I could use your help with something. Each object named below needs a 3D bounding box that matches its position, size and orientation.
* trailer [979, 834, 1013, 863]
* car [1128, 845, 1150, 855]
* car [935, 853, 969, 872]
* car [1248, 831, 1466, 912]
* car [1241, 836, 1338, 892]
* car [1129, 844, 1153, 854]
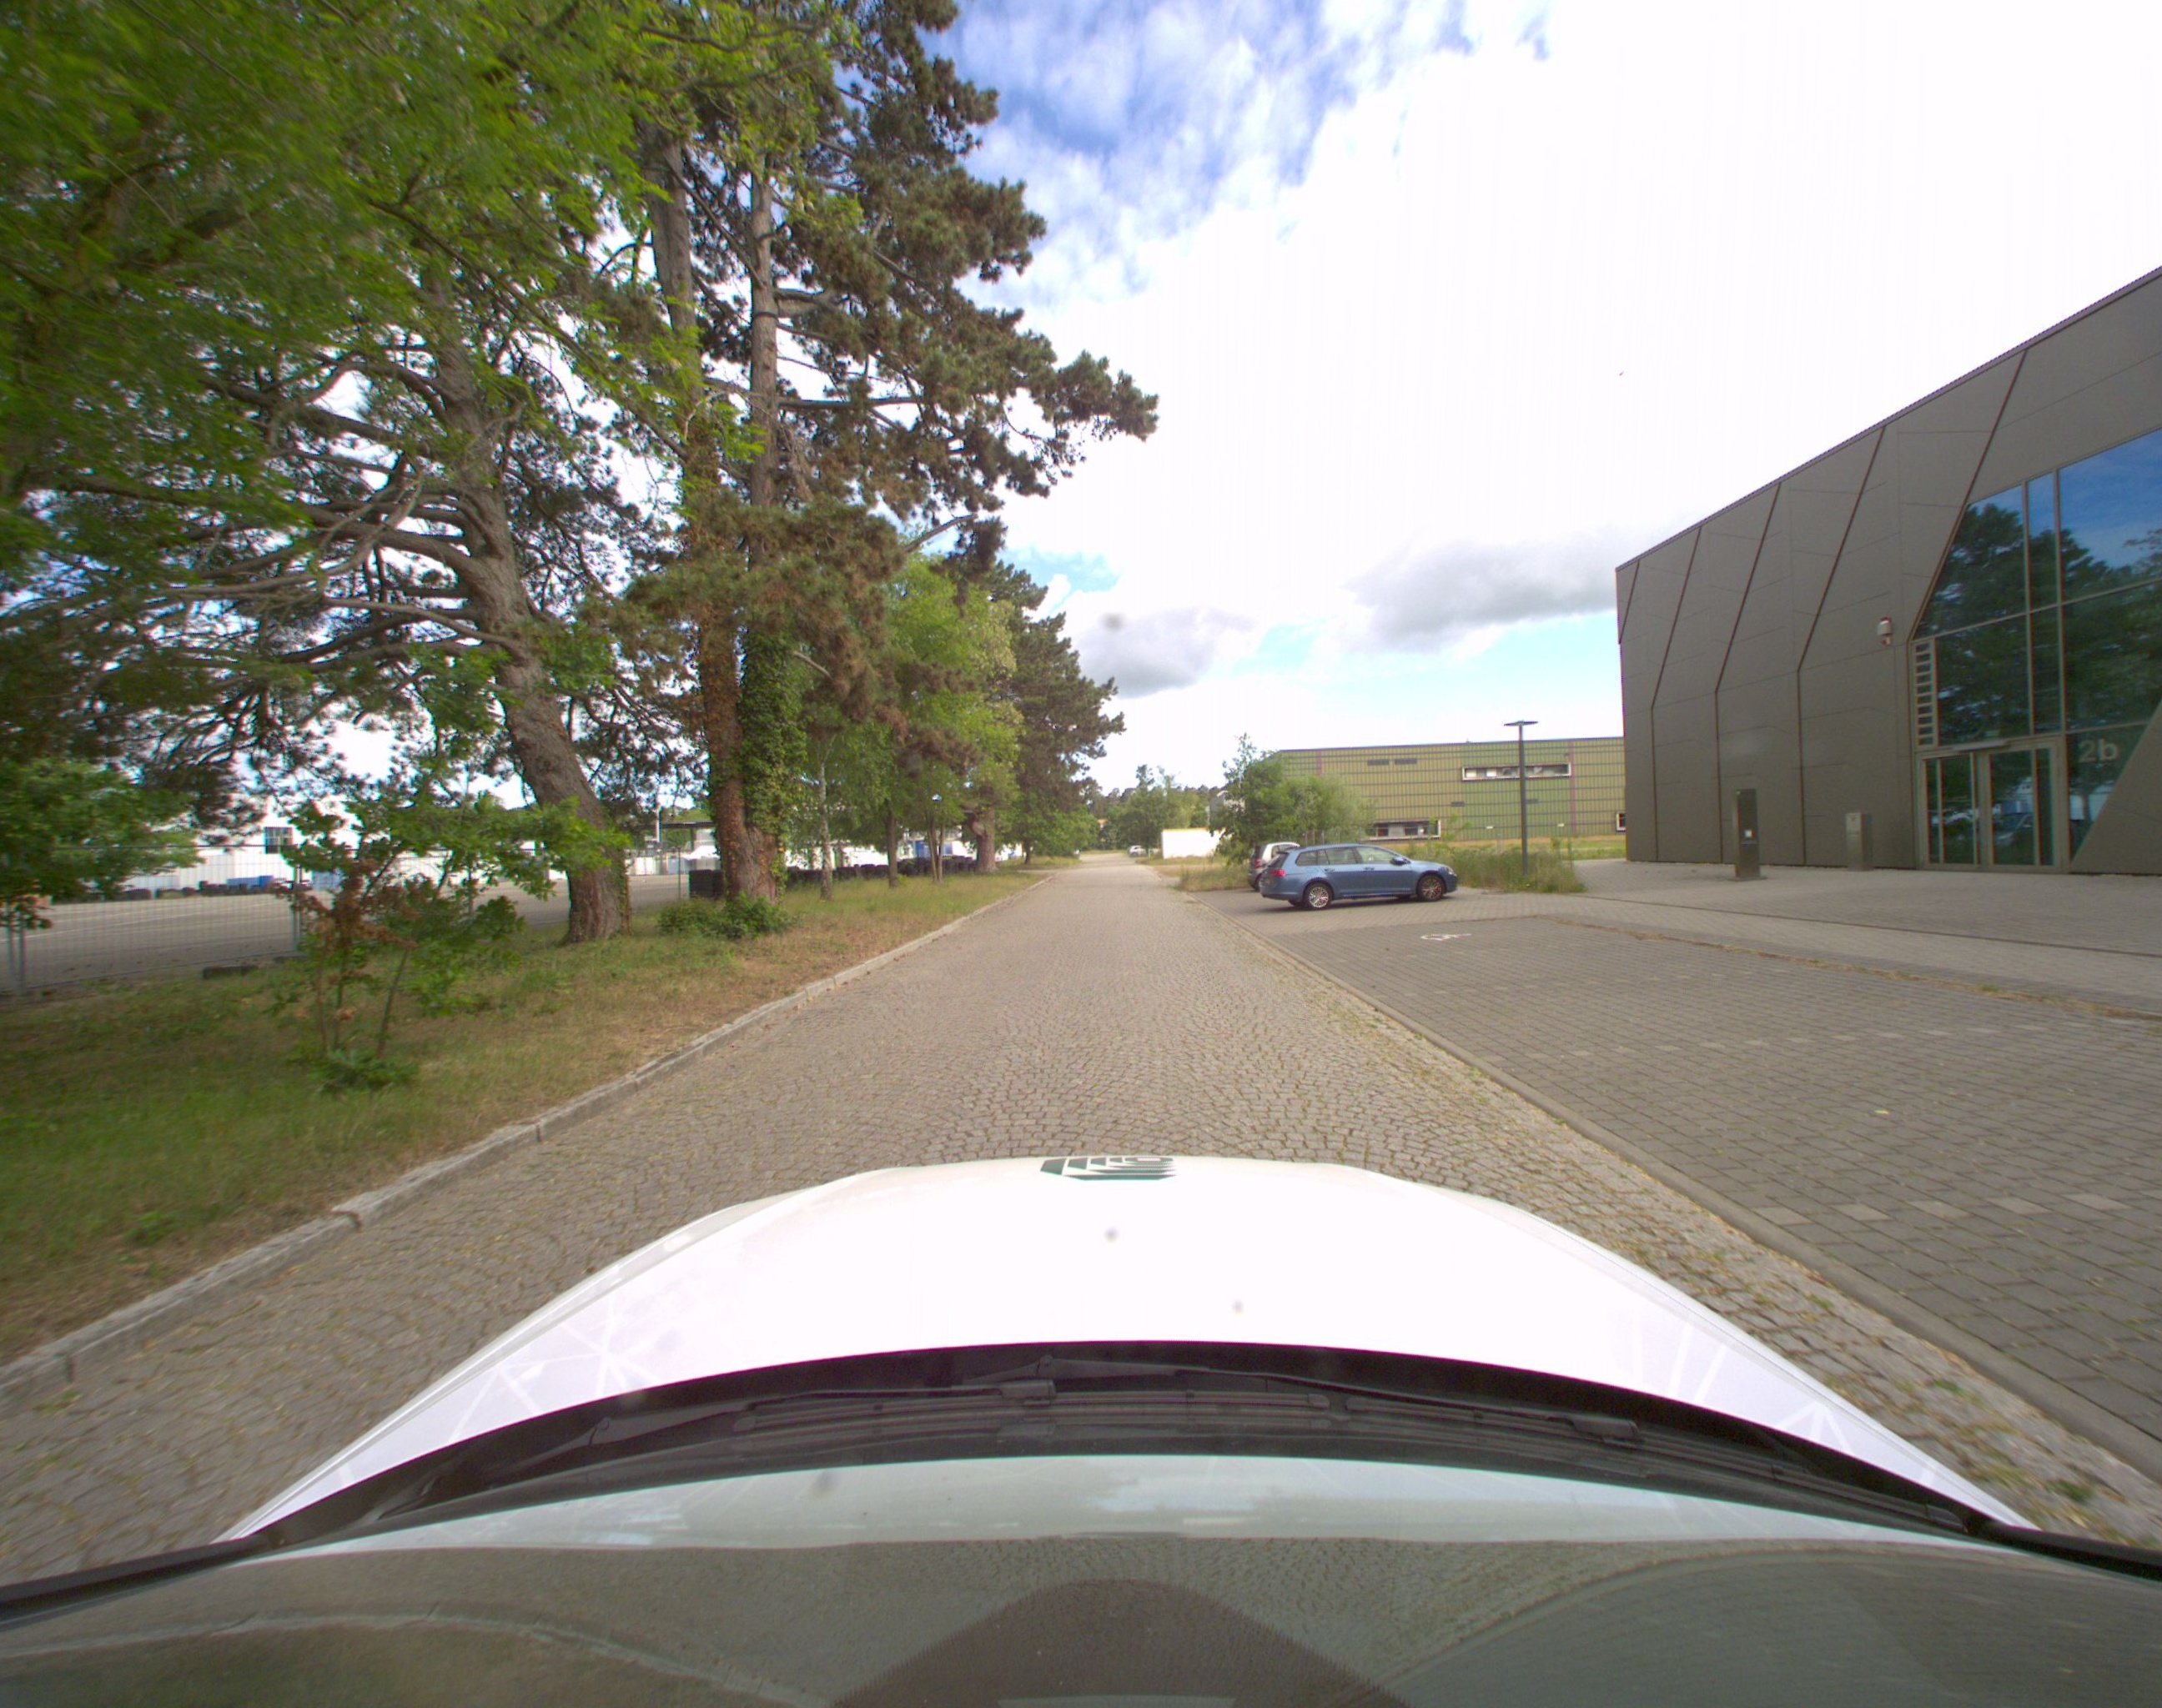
[{"bbox_3d":[-11.024,-0.747,106.751,2.613,3.597,10.190,-2,0,4],"label":"trailer"},{"bbox_3d":[9.680,-0.697,136.501,3.509,1.362,1.623,-4,0,2],"label":"car"},{"bbox_3d":[-10.851,0.666,68.690,1.616,1.433,4.073,-2,1,8],"label":"car"},{"bbox_3d":[6.446,0.392,19.340,4.477,1.475,1.830,-5,0,-1],"label":"car"},{"bbox_3d":[6.772,0.303,26.619,2.699,1.556,1.655,-4,0,3],"label":"car"},{"bbox_3d":[10.314,-0.848,139.181,3.969,1.448,1.654,-4,0,2],"label":"car"}]
